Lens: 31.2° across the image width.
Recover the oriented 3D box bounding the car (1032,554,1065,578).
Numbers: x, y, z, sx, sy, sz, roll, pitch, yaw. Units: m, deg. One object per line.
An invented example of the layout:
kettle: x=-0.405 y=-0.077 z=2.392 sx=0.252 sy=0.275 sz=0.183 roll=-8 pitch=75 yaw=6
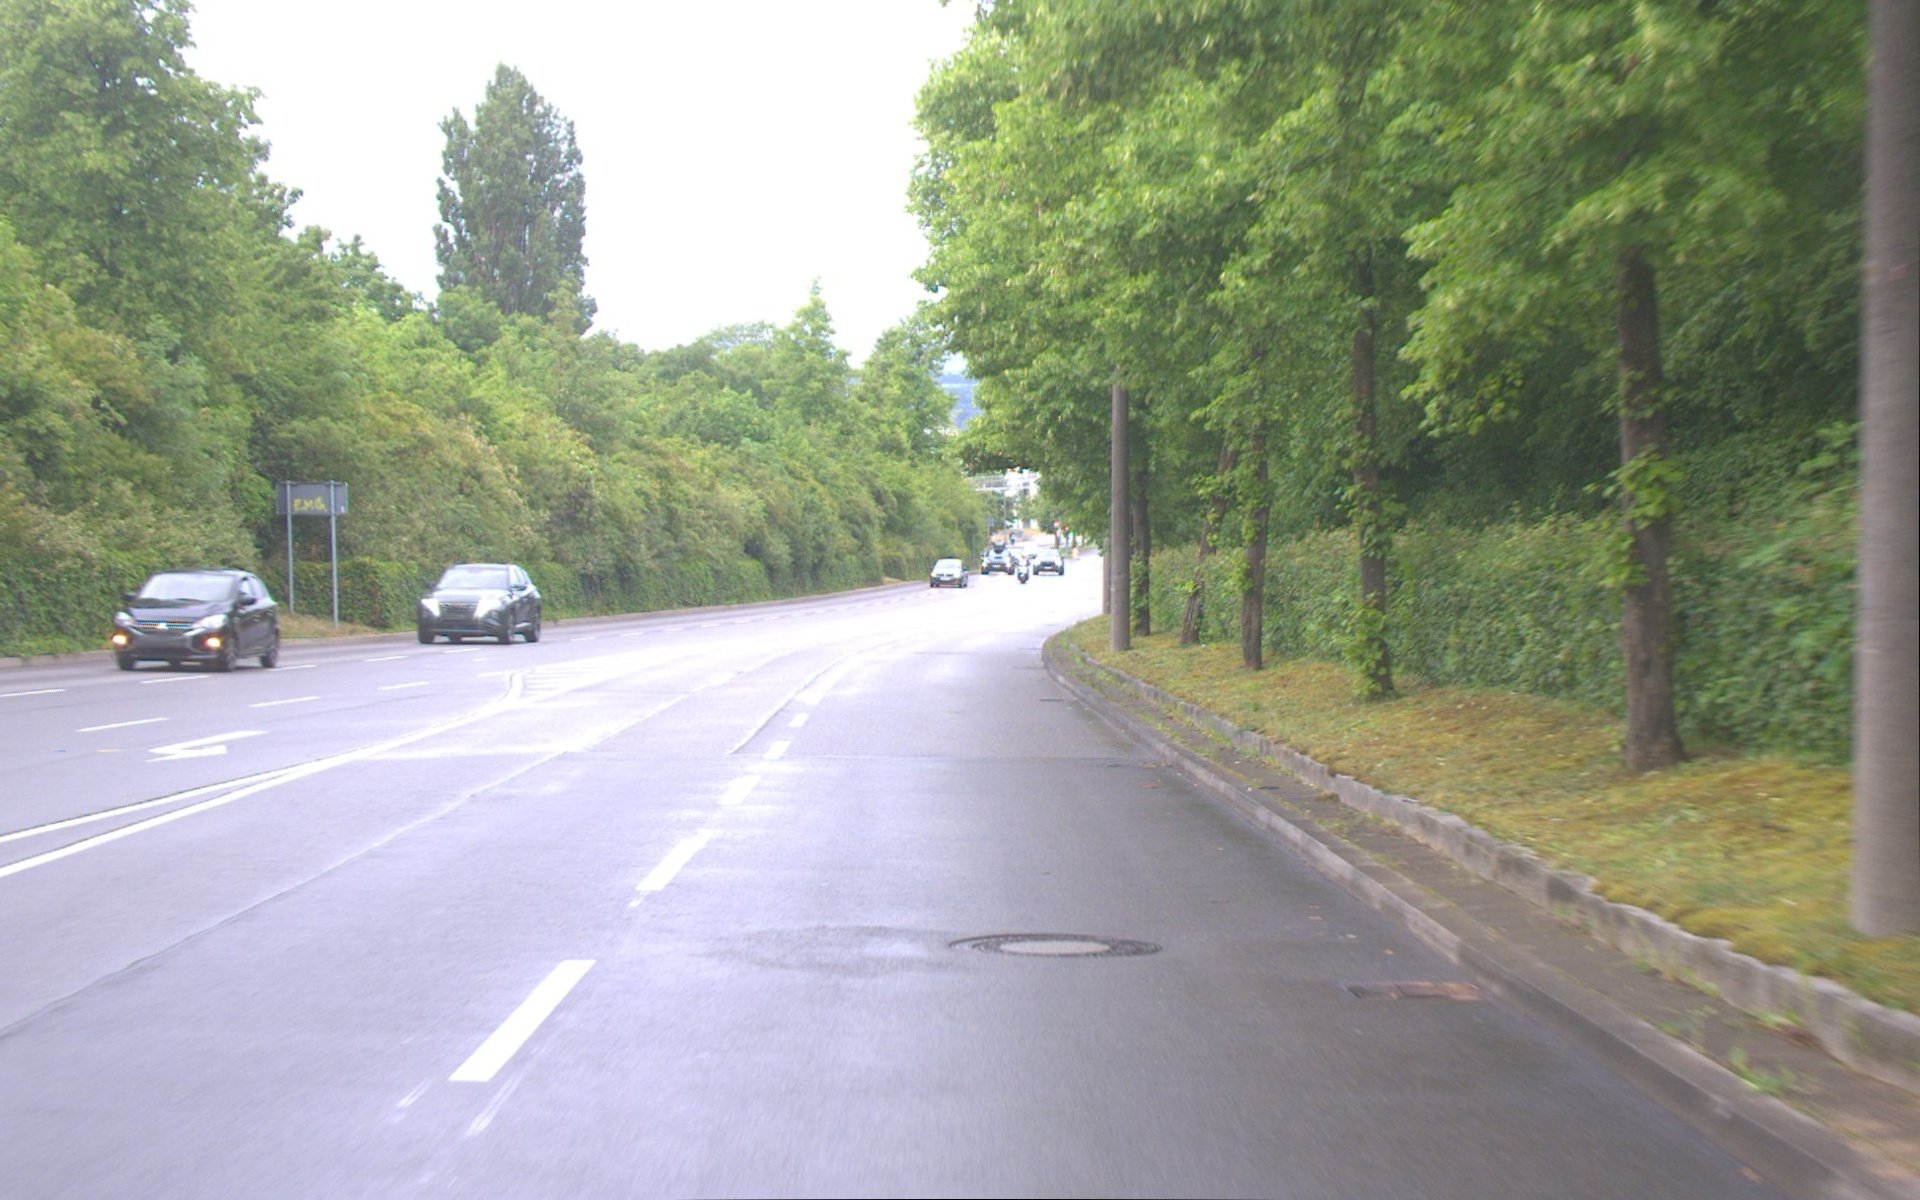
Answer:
car: x=5.774 y=-2.202 z=223.453 sx=1.865 sy=1.459 sz=3.892 roll=3 pitch=0 yaw=5

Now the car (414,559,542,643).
car: x=-9.792 y=0.007 z=70.088 sx=1.864 sy=1.584 sz=3.892 roll=3 pitch=0 yaw=2

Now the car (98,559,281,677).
car: x=-11.118 y=0.232 z=49.854 sx=1.725 sy=1.560 sz=3.893 roll=3 pitch=1 yaw=0

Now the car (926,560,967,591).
car: x=-0.698 y=-1.261 z=175.646 sx=1.864 sy=1.459 sz=3.892 roll=3 pitch=0 yaw=2

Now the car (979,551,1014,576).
car: x=2.350 y=-2.327 z=220.400 sx=1.865 sy=1.459 sz=3.892 roll=3 pitch=0 yaw=5
